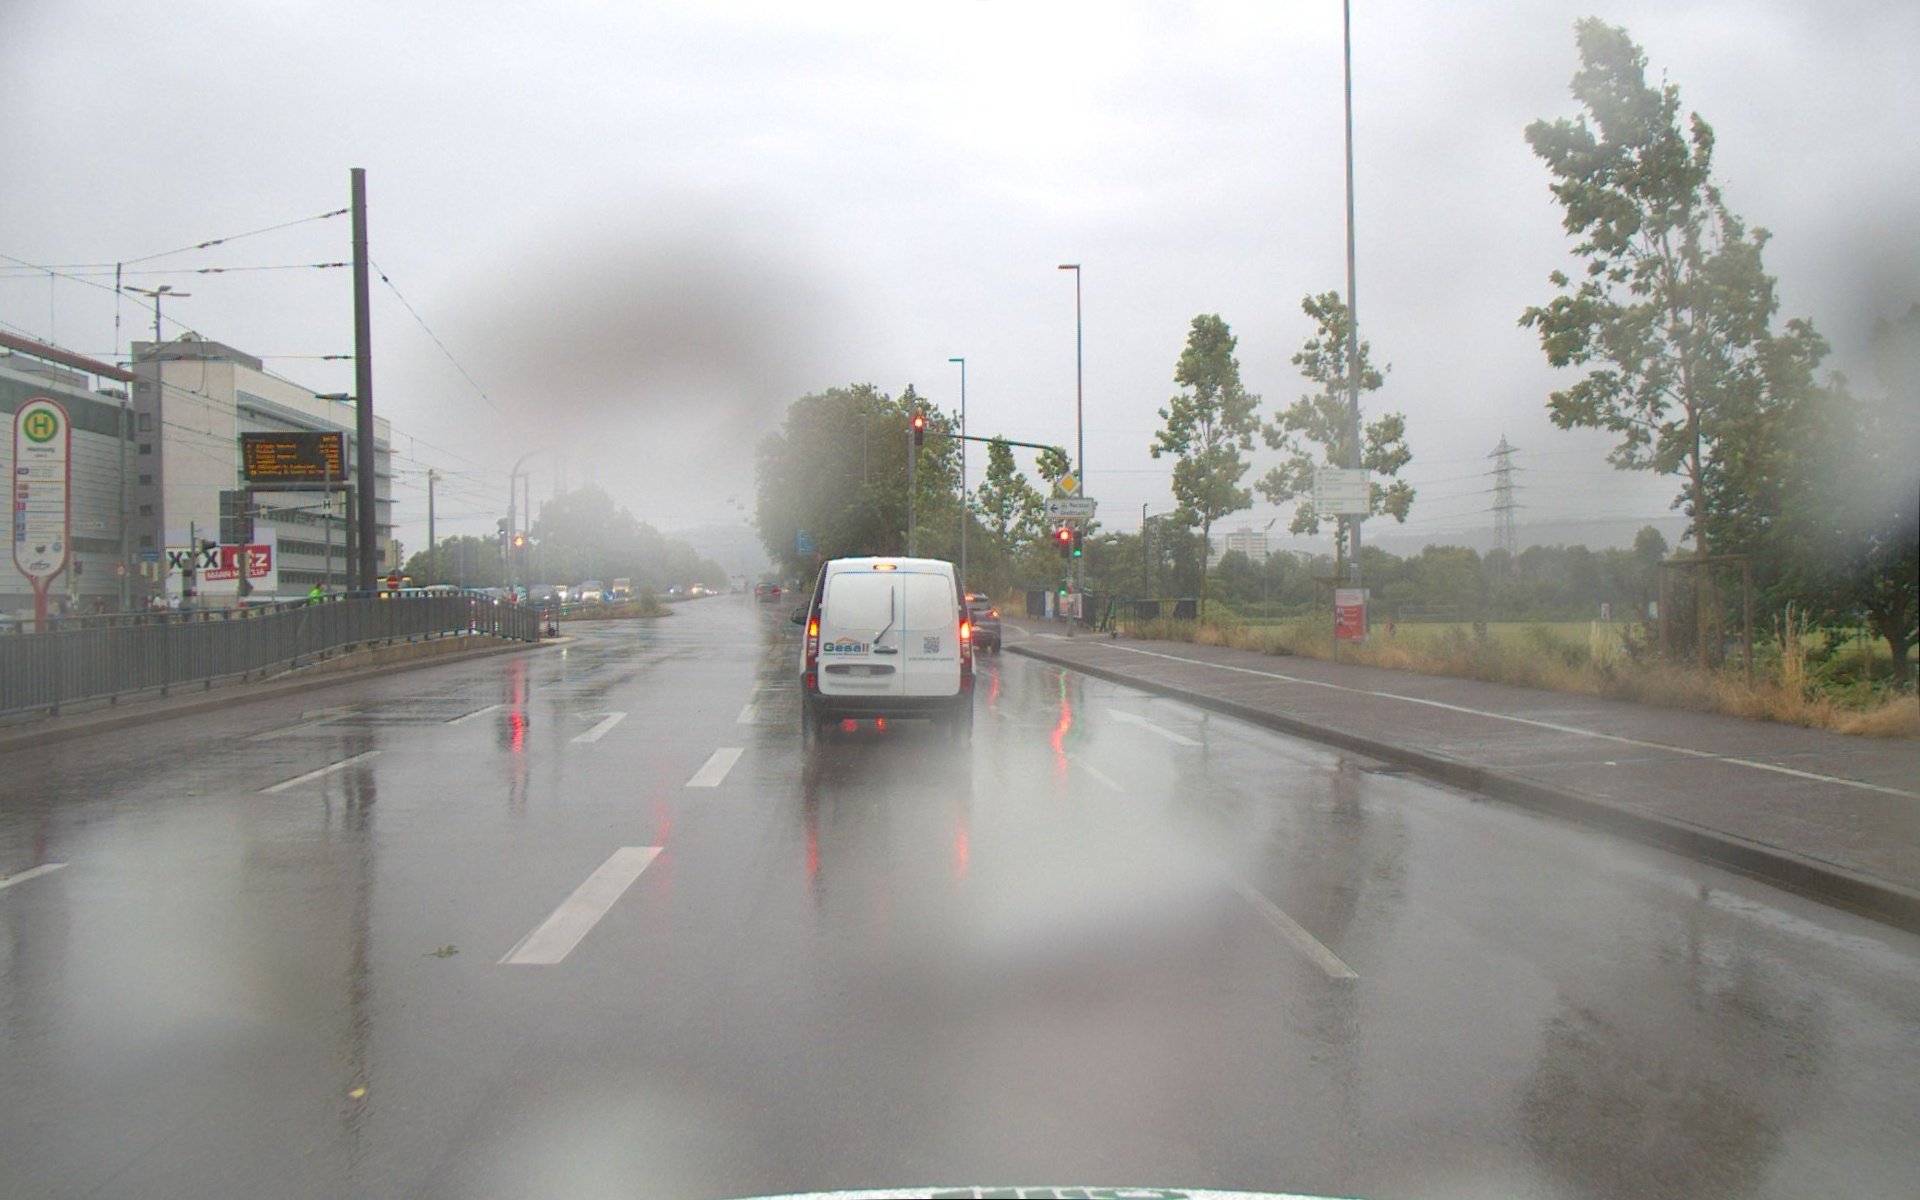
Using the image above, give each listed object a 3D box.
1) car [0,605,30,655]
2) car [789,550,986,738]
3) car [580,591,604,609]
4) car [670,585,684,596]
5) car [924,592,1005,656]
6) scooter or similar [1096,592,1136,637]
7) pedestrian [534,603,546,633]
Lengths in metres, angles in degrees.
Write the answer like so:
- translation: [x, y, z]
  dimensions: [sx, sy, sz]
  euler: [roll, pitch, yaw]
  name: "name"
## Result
- translation: [-34.614, 0.975, 56.596]
  dimensions: [4.363, 1.691, 1.951]
  euler: [2, -1, -5]
  name: "car"
- translation: [-0.896, 0.395, 17.879]
  dimensions: [1.721, 1.780, 4.161]
  euler: [0, 1, -8]
  name: "car"
- translation: [-32.787, 0.014, 147.479]
  dimensions: [1.529, 1.451, 3.565]
  euler: [2, -1, -5]
  name: "car"
- translation: [-40.304, -1.296, 235.697]
  dimensions: [1.529, 1.451, 3.565]
  euler: [2, -1, -5]
  name: "car"
- translation: [0.071, 0.599, 42.203]
  dimensions: [1.651, 1.534, 3.916]
  euler: [1, 0, -6]
  name: "car"
- translation: [4.463, 0.396, 47.611]
  dimensions: [0.676, 1.232, 3.018]
  euler: [-1, 0, -3]
  name: "scooter or similar"
- translation: [-13.161, 0.567, 51.808]
  dimensions: [0.309, 0.913, 0.380]
  euler: [2, 0, -7]
  name: "pedestrian"
